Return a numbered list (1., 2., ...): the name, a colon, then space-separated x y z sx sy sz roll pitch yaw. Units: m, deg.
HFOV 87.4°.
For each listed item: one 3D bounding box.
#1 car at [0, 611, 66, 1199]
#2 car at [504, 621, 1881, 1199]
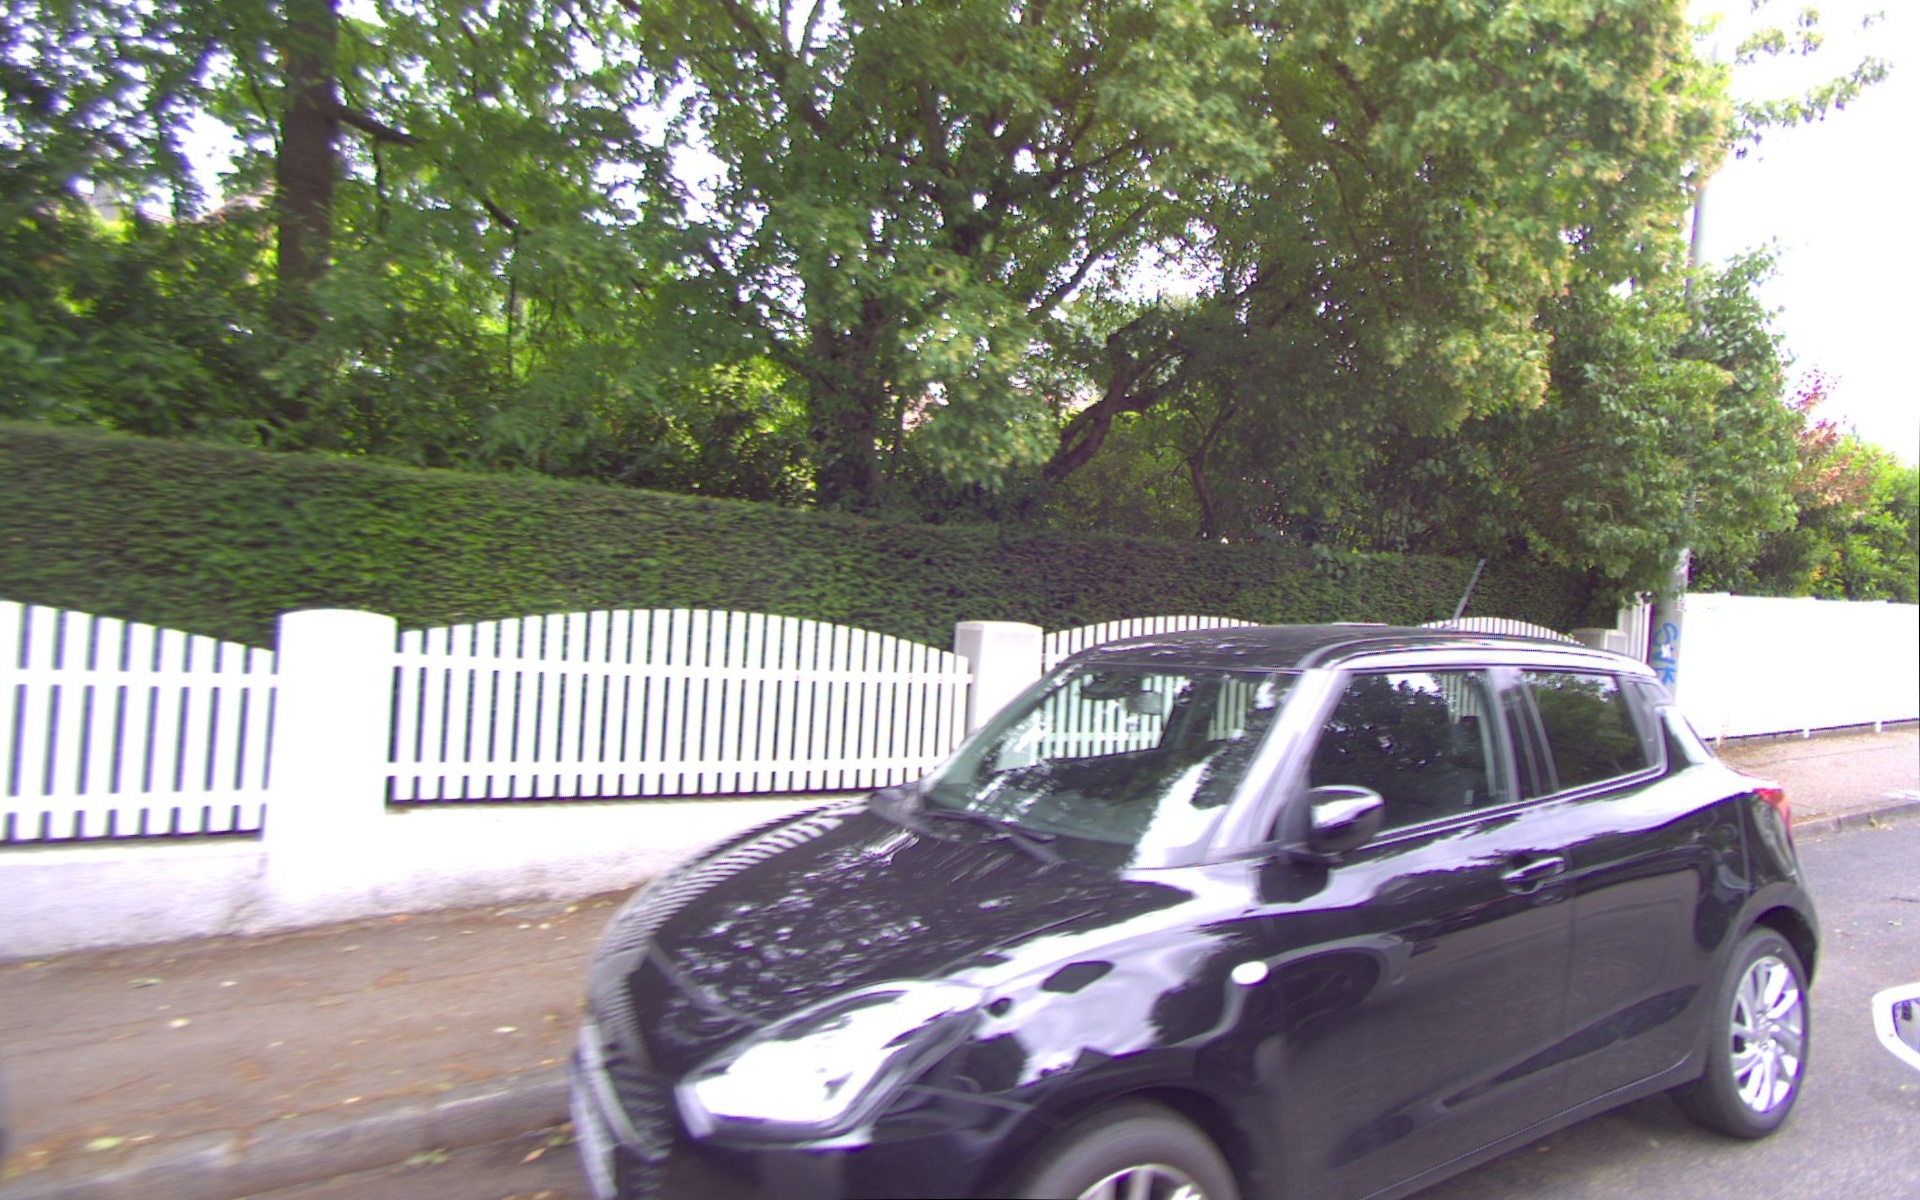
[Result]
1. car: -2.873 0.763 0.832 2.931 1.553 1.612 1 -2 -33
2. car: 0.835 0.838 2.951 3.841 1.500 1.648 1 -2 -30
